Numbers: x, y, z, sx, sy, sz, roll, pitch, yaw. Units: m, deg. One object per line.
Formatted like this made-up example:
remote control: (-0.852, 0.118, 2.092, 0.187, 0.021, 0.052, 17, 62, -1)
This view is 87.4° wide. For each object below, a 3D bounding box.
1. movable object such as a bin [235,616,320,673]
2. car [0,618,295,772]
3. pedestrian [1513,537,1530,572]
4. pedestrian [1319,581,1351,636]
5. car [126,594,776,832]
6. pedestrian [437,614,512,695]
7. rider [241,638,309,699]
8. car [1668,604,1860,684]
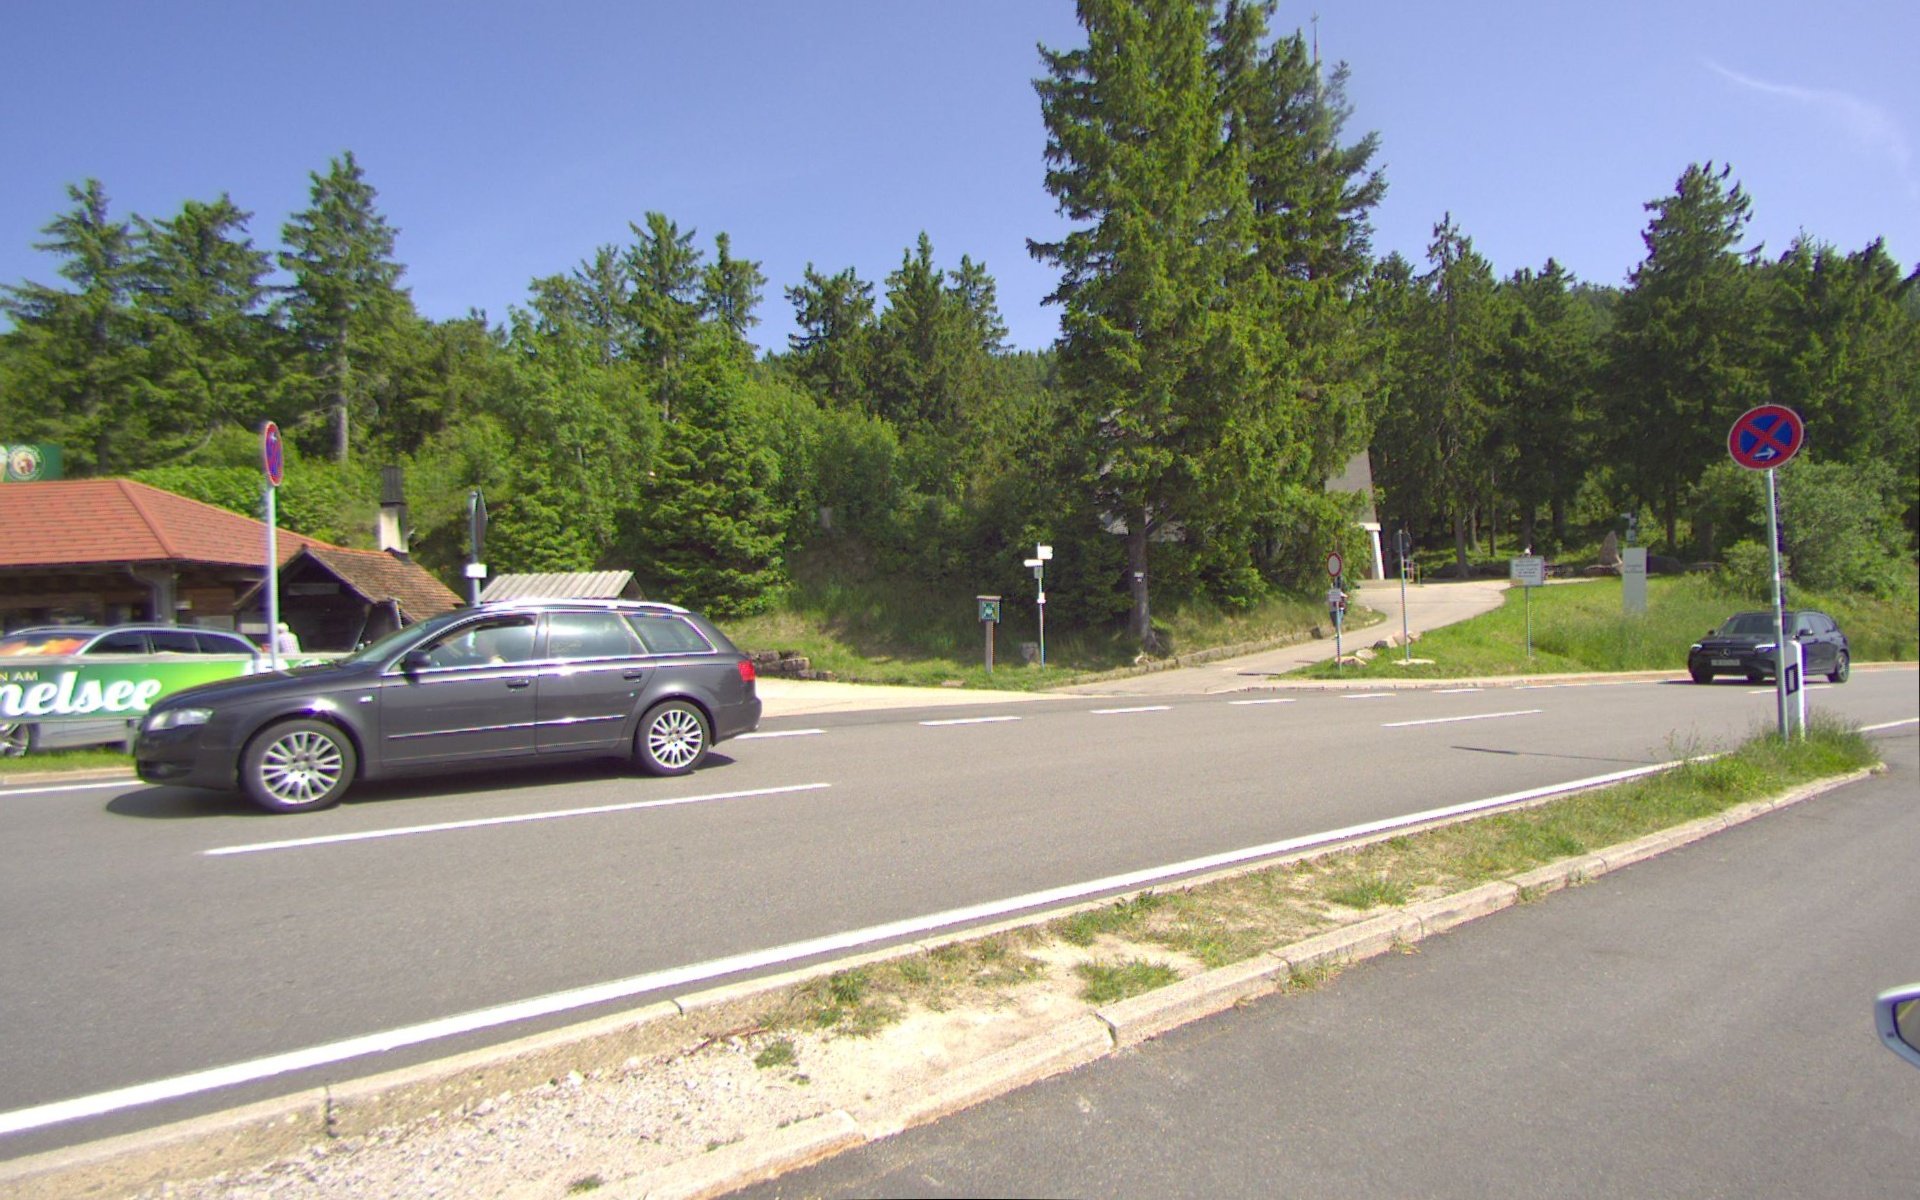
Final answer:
movable object such as a bin: (-14.980, 0.975, 22.062, 1.192, 1.204, 0.984, -1, -1, 14)
car: (-9.734, 0.961, 10.969, 1.687, 1.449, 4.506, -1, -2, 5)
pedestrian: (31.263, -2.516, 55.898, 0.531, 1.902, 0.683, 0, -1, 0)
pedestrian: (11.745, 0.269, 31.470, 0.678, 1.703, 0.713, 1, -2, -43)
car: (-3.871, 0.746, 8.195, 4.409, 1.457, 1.694, 1, -2, -37)
pedestrian: (-10.612, 1.175, 21.977, 1.139, 1.721, 0.979, -1, -2, 3)
rider: (-14.997, 1.494, 22.000, 0.891, 1.291, 0.840, -1, -1, 14)
car: (18.383, 0.964, 22.921, 4.515, 1.669, 1.984, 1, -2, -31)
